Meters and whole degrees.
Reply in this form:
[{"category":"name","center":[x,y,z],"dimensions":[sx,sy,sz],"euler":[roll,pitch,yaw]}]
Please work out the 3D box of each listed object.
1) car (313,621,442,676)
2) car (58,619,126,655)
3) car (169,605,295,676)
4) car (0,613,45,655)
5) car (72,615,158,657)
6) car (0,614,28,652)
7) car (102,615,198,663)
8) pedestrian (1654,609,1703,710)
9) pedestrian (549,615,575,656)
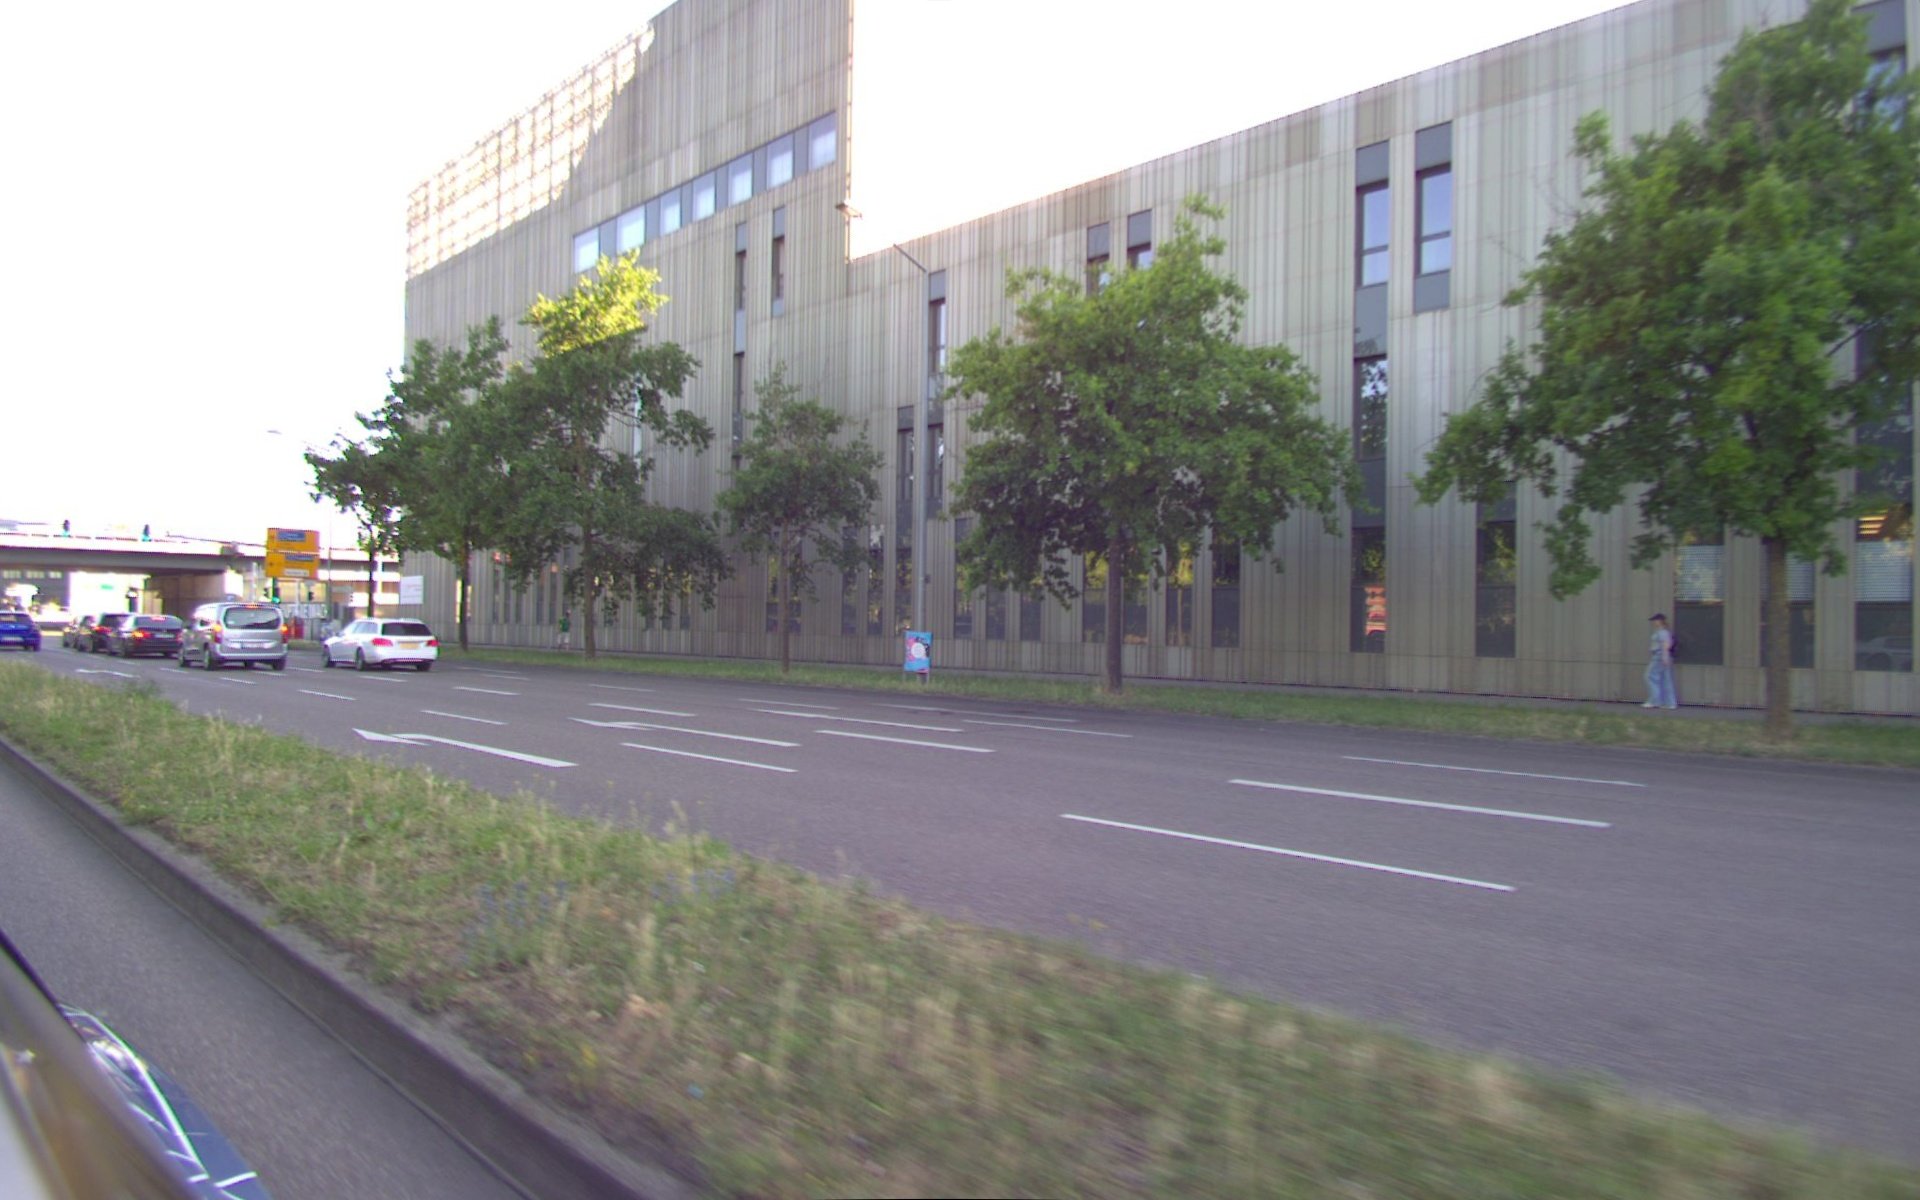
[{"category":"car","center":[-17.158,1.398,29.719],"dimensions":[4.814,1.484,1.826],"euler":[-1,-3,42]},{"category":"car","center":[-37.137,1.570,43.270],"dimensions":[3.771,1.444,1.673],"euler":[-1,-3,42]},{"category":"car","center":[-20.386,1.090,28.280],"dimensions":[4.401,1.830,1.972],"euler":[-1,-3,43]},{"category":"car","center":[-36.010,1.246,38.068],"dimensions":[3.950,1.530,1.817],"euler":[-1,-2,41]},{"category":"car","center":[-32.277,1.358,38.619],"dimensions":[3.998,1.530,1.905],"euler":[-1,-3,42]},{"category":"car","center":[-42.313,1.411,44.261],"dimensions":[4.000,1.617,1.904],"euler":[-1,-3,43]},{"category":"car","center":[-27.802,1.314,34.692],"dimensions":[4.290,1.530,1.904],"euler":[-1,-3,43]},{"category":"pedestrian","center":[13.018,1.062,18.329],"dimensions":[0.649,1.781,0.596],"euler":[-1,-2,42]},{"category":"pedestrian","center":[-16.234,1.450,41.285],"dimensions":[0.725,1.641,0.689],"euler":[-1,-2,41]}]
